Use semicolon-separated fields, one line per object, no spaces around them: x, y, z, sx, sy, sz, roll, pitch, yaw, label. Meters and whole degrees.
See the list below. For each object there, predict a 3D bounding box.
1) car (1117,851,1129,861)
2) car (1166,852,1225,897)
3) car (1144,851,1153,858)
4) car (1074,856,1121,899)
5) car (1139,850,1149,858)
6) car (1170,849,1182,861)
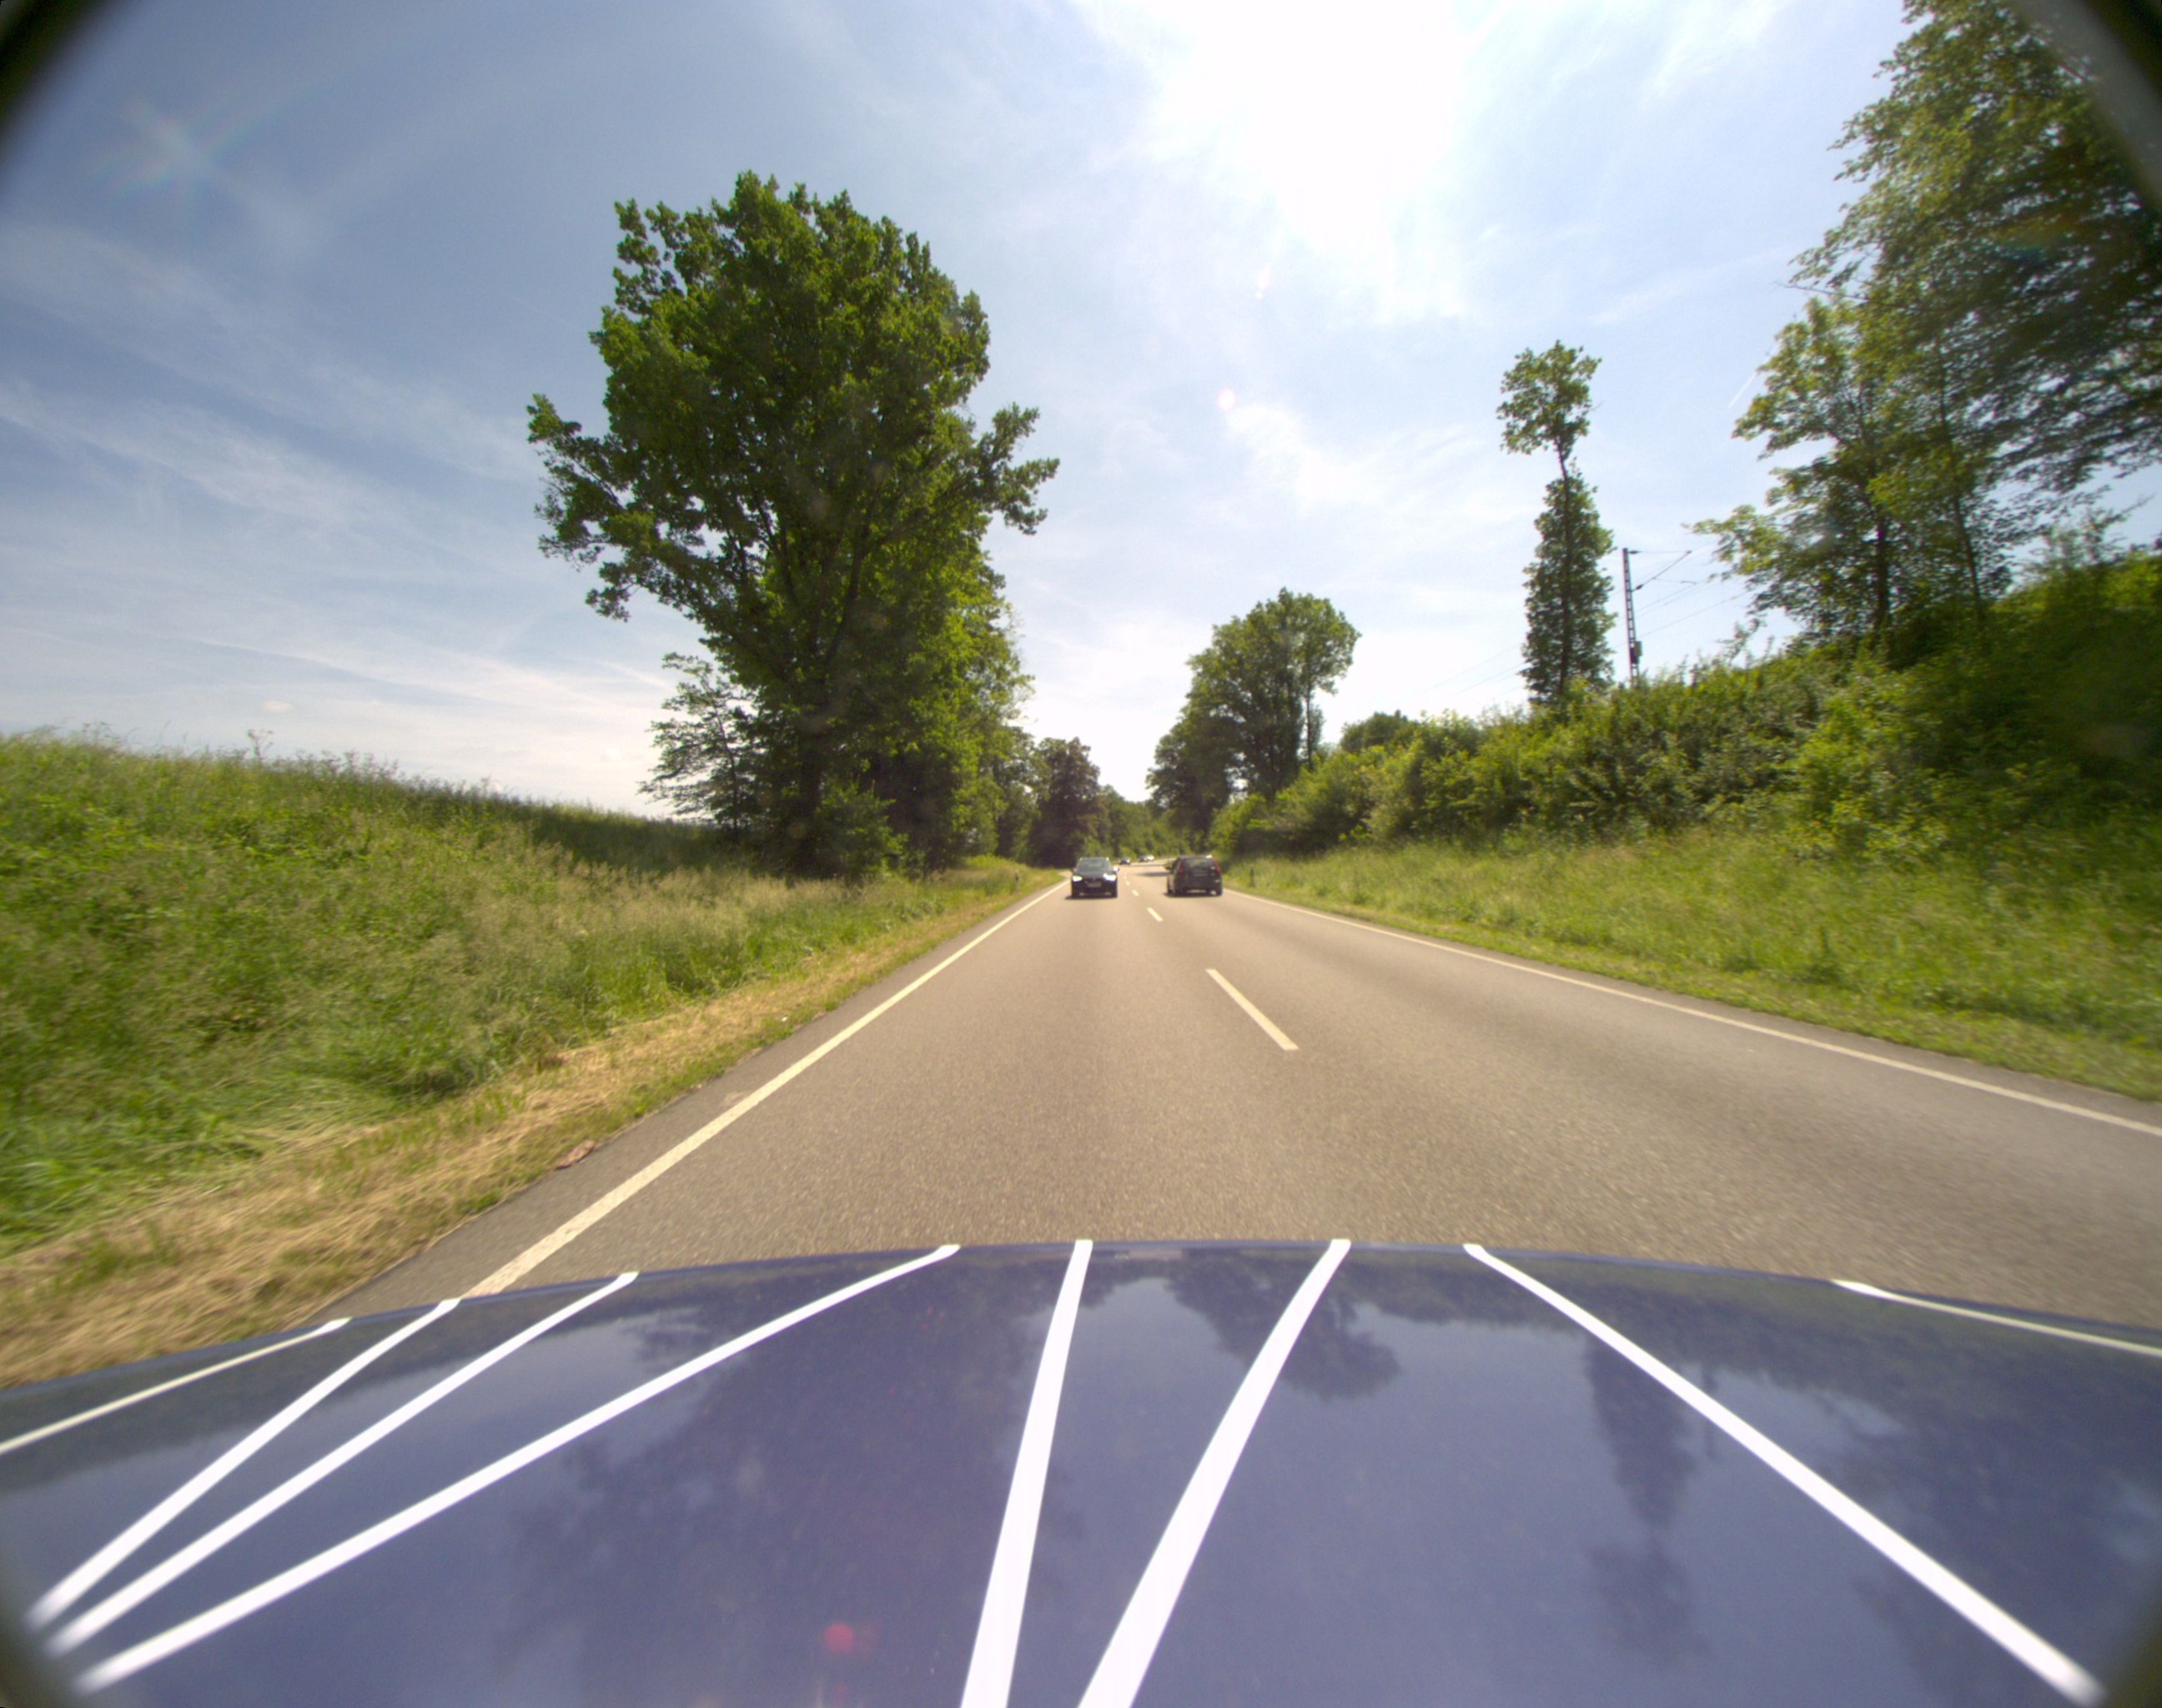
7.119;0.395;127.792;1.811;1.580;4.001;-2;0;5;car
4.343;0.740;29.371;1.776;1.561;4.218;-1;0;2;car
15.851;0.006;177.738;1.810;1.580;4.003;-2;0;11;car
0.676;0.863;29.443;1.661;1.531;3.487;-1;0;3;car
13.331;0.022;160.923;1.810;1.580;4.002;-2;0;9;car
16.542;0.144;132.102;1.997;2.002;4.002;-2;0;7;car
